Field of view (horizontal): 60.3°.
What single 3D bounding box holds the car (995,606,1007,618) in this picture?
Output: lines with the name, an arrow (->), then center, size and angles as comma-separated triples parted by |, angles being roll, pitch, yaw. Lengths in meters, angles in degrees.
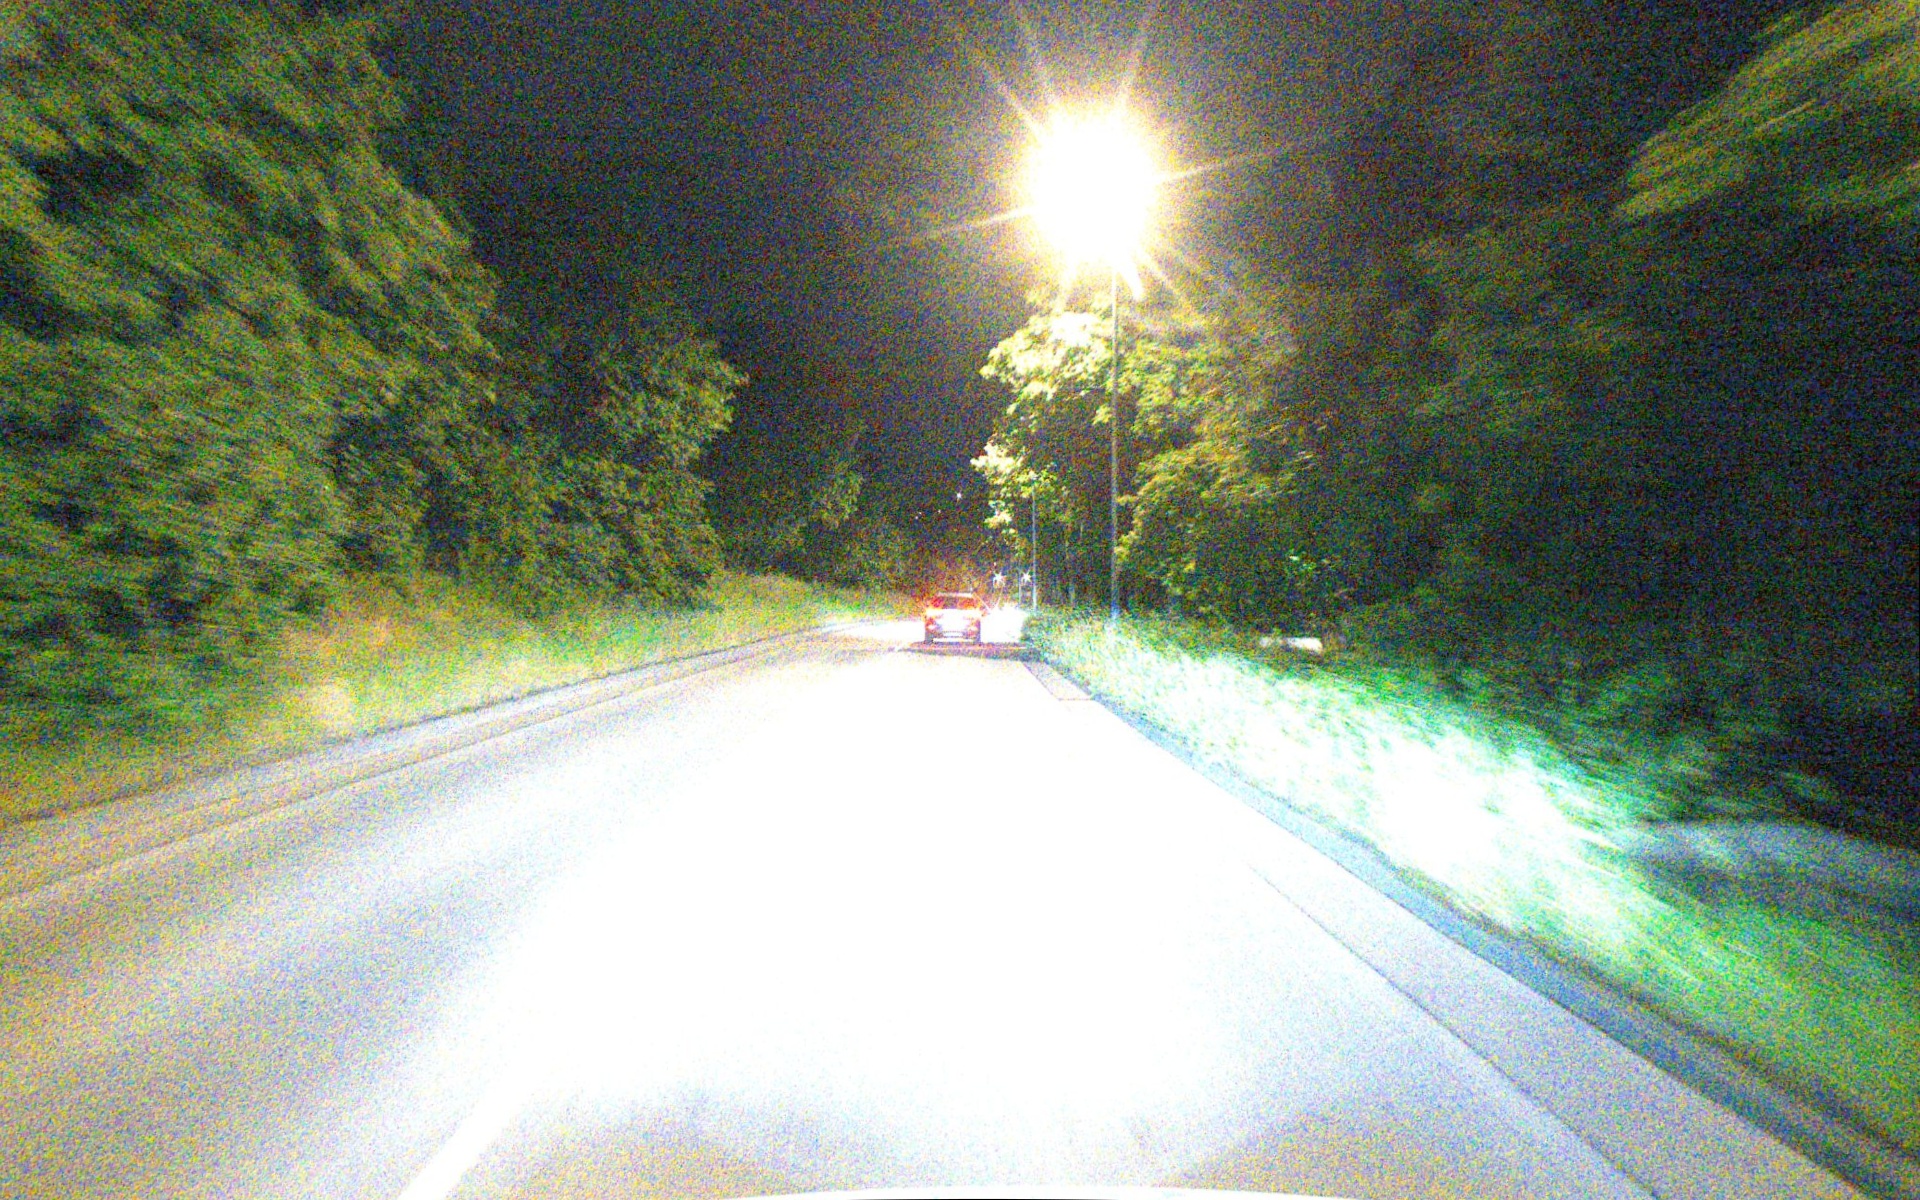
car -> 5.443, 1.588, 220.114 | 1.652, 1.483, 4.000 | 1, 0, 1

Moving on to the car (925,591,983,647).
car -> -0.198, 0.565, 52.296 | 1.727, 1.670, 3.722 | 1, 1, -1
